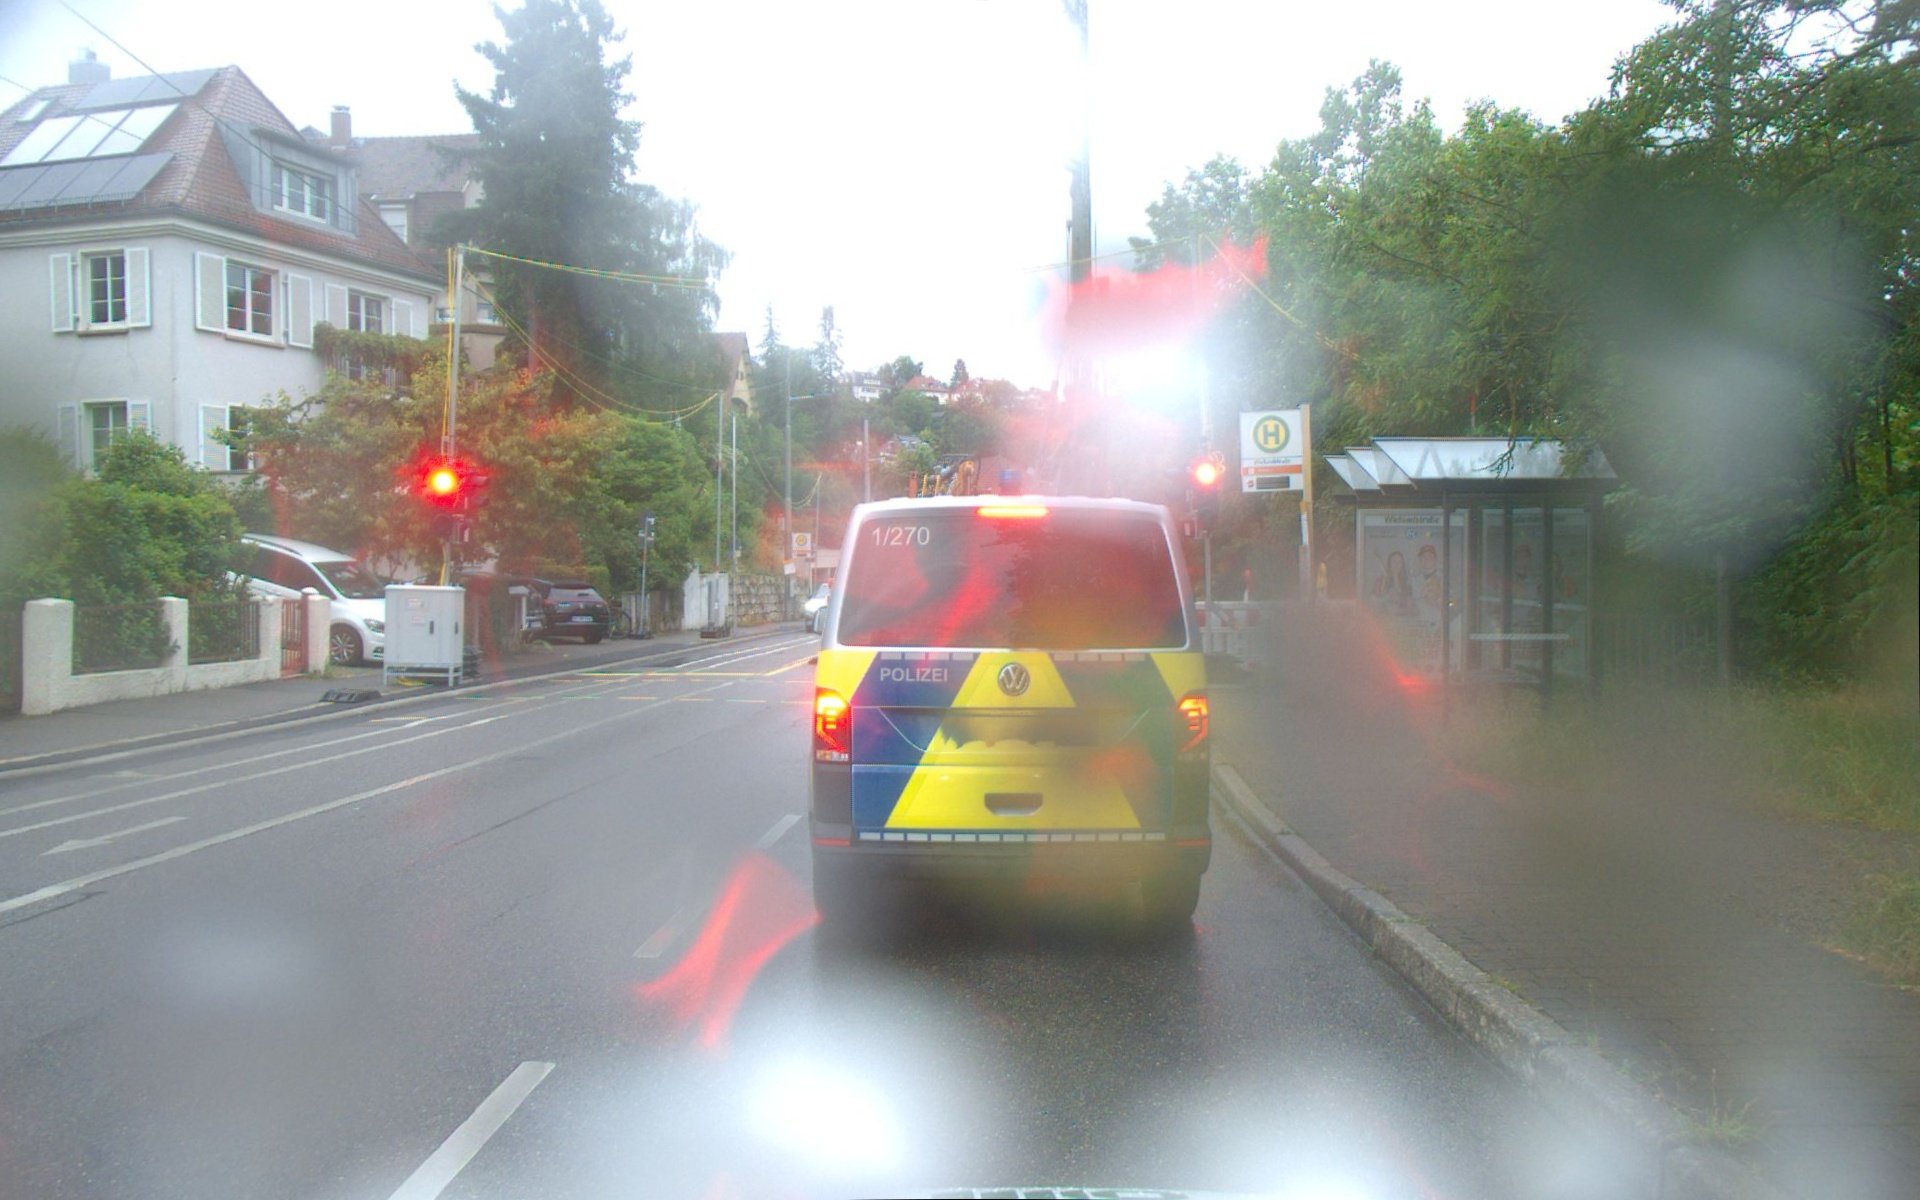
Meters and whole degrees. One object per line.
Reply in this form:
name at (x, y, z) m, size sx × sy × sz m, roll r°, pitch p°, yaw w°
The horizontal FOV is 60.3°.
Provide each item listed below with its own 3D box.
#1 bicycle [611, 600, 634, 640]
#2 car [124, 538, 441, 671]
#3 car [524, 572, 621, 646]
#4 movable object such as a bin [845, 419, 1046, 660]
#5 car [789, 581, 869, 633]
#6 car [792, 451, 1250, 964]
bicycle at (-8.057, 0.462, 39.455) m, size 0.455 × 0.913 × 1.628 m, roll 0°, pitch 0°, yaw -15°
car at (-11.211, 0.052, 27.491) m, size 4.532 × 2.042 × 1.902 m, roll 1°, pitch 0°, yaw 11°
car at (-8.914, 0.171, 37.830) m, size 1.739 × 1.512 × 3.721 m, roll 1°, pitch 2°, yaw -20°
movable object such as a bin at (-0.168, -1.098, 31.640) m, size 2.770 × 4.250 × 4.384 m, roll 1°, pitch 0°, yaw 14°
car at (-4.081, 0.232, 52.407) m, size 1.814 × 1.554 × 4.822 m, roll 1°, pitch 0°, yaw 4°
car at (0.226, 0.434, 8.822) m, size 1.855 × 2.086 × 3.999 m, roll 1°, pitch 0°, yaw -1°
